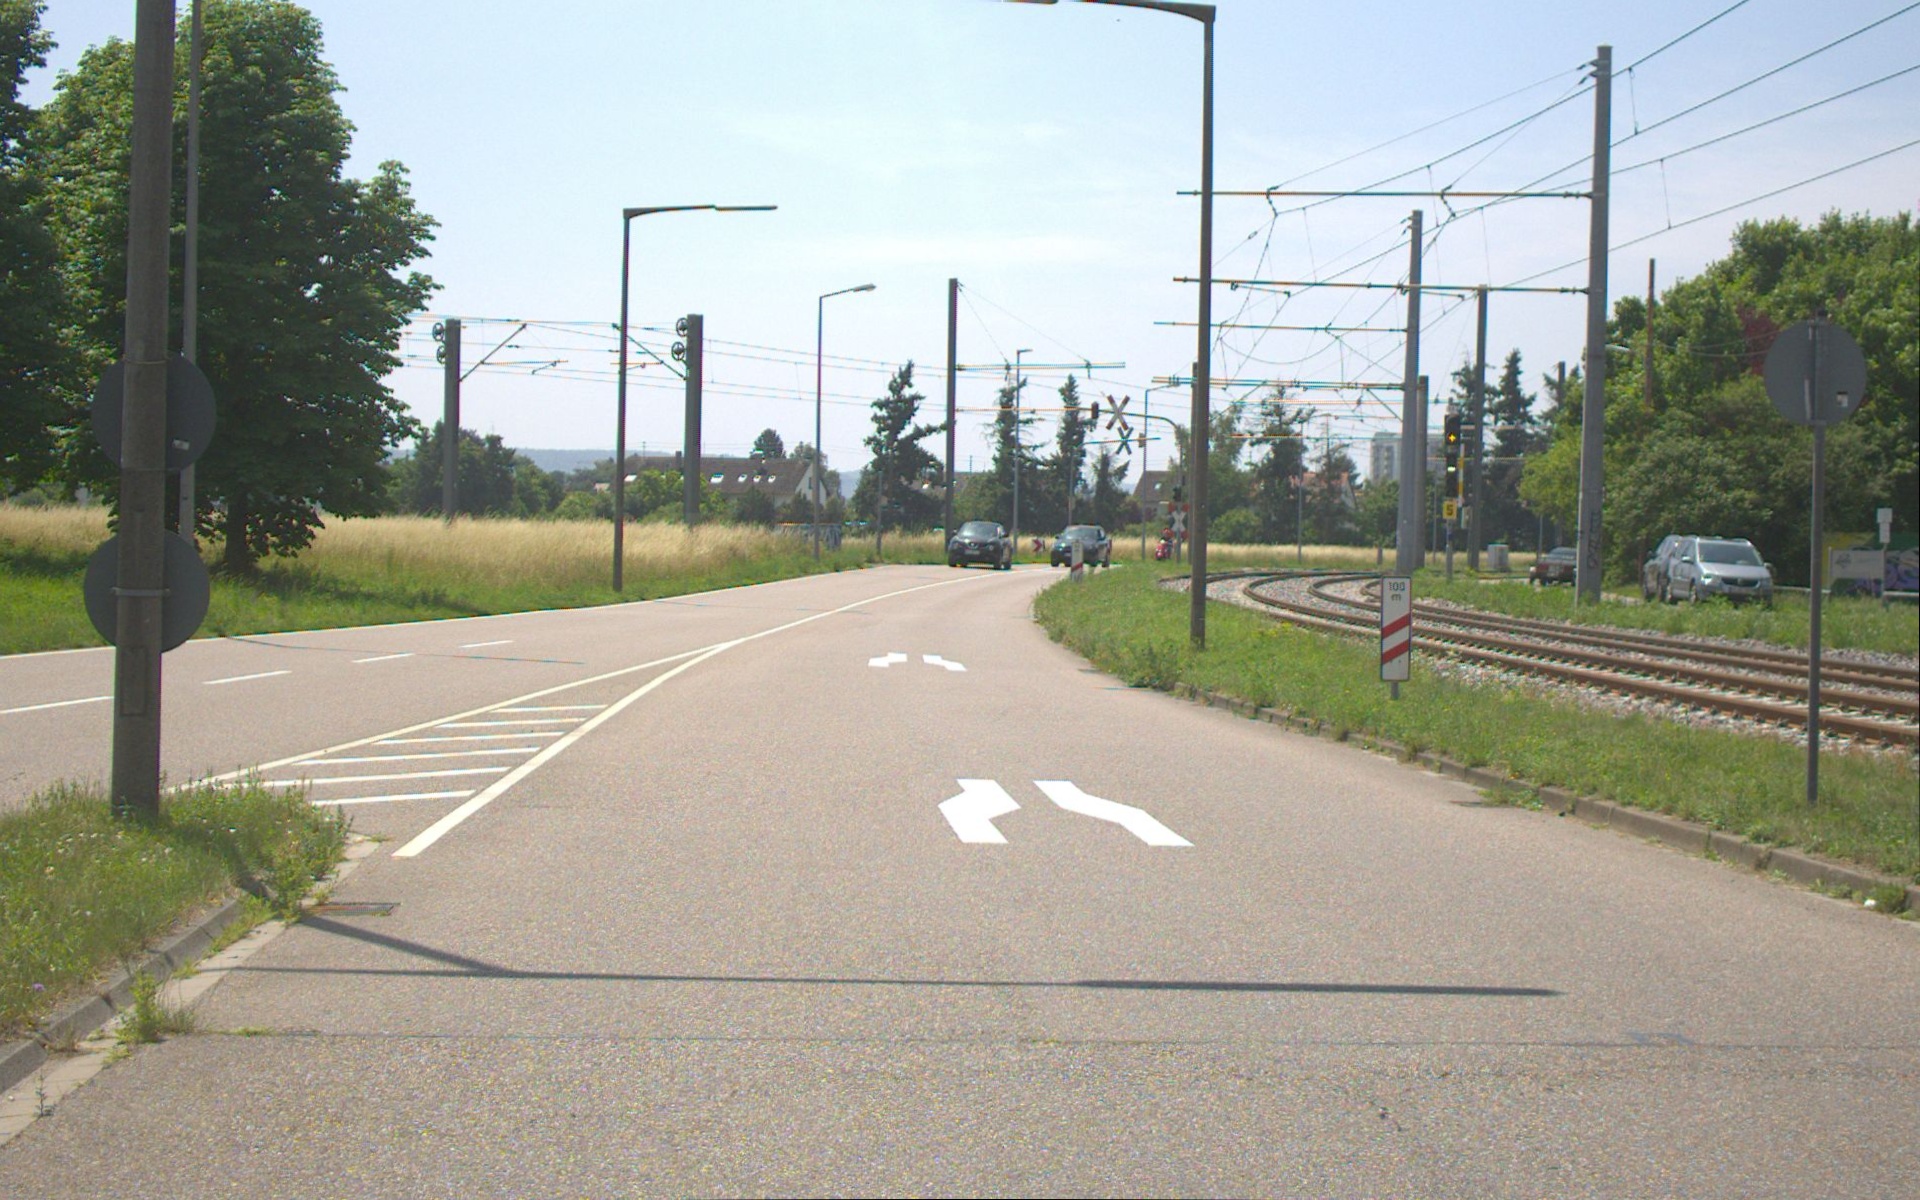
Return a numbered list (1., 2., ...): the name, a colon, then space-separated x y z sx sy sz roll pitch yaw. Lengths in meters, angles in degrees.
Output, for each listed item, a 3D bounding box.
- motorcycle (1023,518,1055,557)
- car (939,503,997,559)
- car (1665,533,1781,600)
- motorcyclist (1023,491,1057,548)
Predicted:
1. motorcycle: 3.330 -2.617 144.786 0.989 1.575 3.400 3 1 6
2. car: 0.285 -2.317 115.813 1.404 1.765 3.253 3 1 8
3. car: 17.164 -0.763 77.500 1.671 1.392 3.650 3 1 -1
4. motorcyclist: 3.370 -3.384 144.701 1.231 2.343 1.106 3 0 6
